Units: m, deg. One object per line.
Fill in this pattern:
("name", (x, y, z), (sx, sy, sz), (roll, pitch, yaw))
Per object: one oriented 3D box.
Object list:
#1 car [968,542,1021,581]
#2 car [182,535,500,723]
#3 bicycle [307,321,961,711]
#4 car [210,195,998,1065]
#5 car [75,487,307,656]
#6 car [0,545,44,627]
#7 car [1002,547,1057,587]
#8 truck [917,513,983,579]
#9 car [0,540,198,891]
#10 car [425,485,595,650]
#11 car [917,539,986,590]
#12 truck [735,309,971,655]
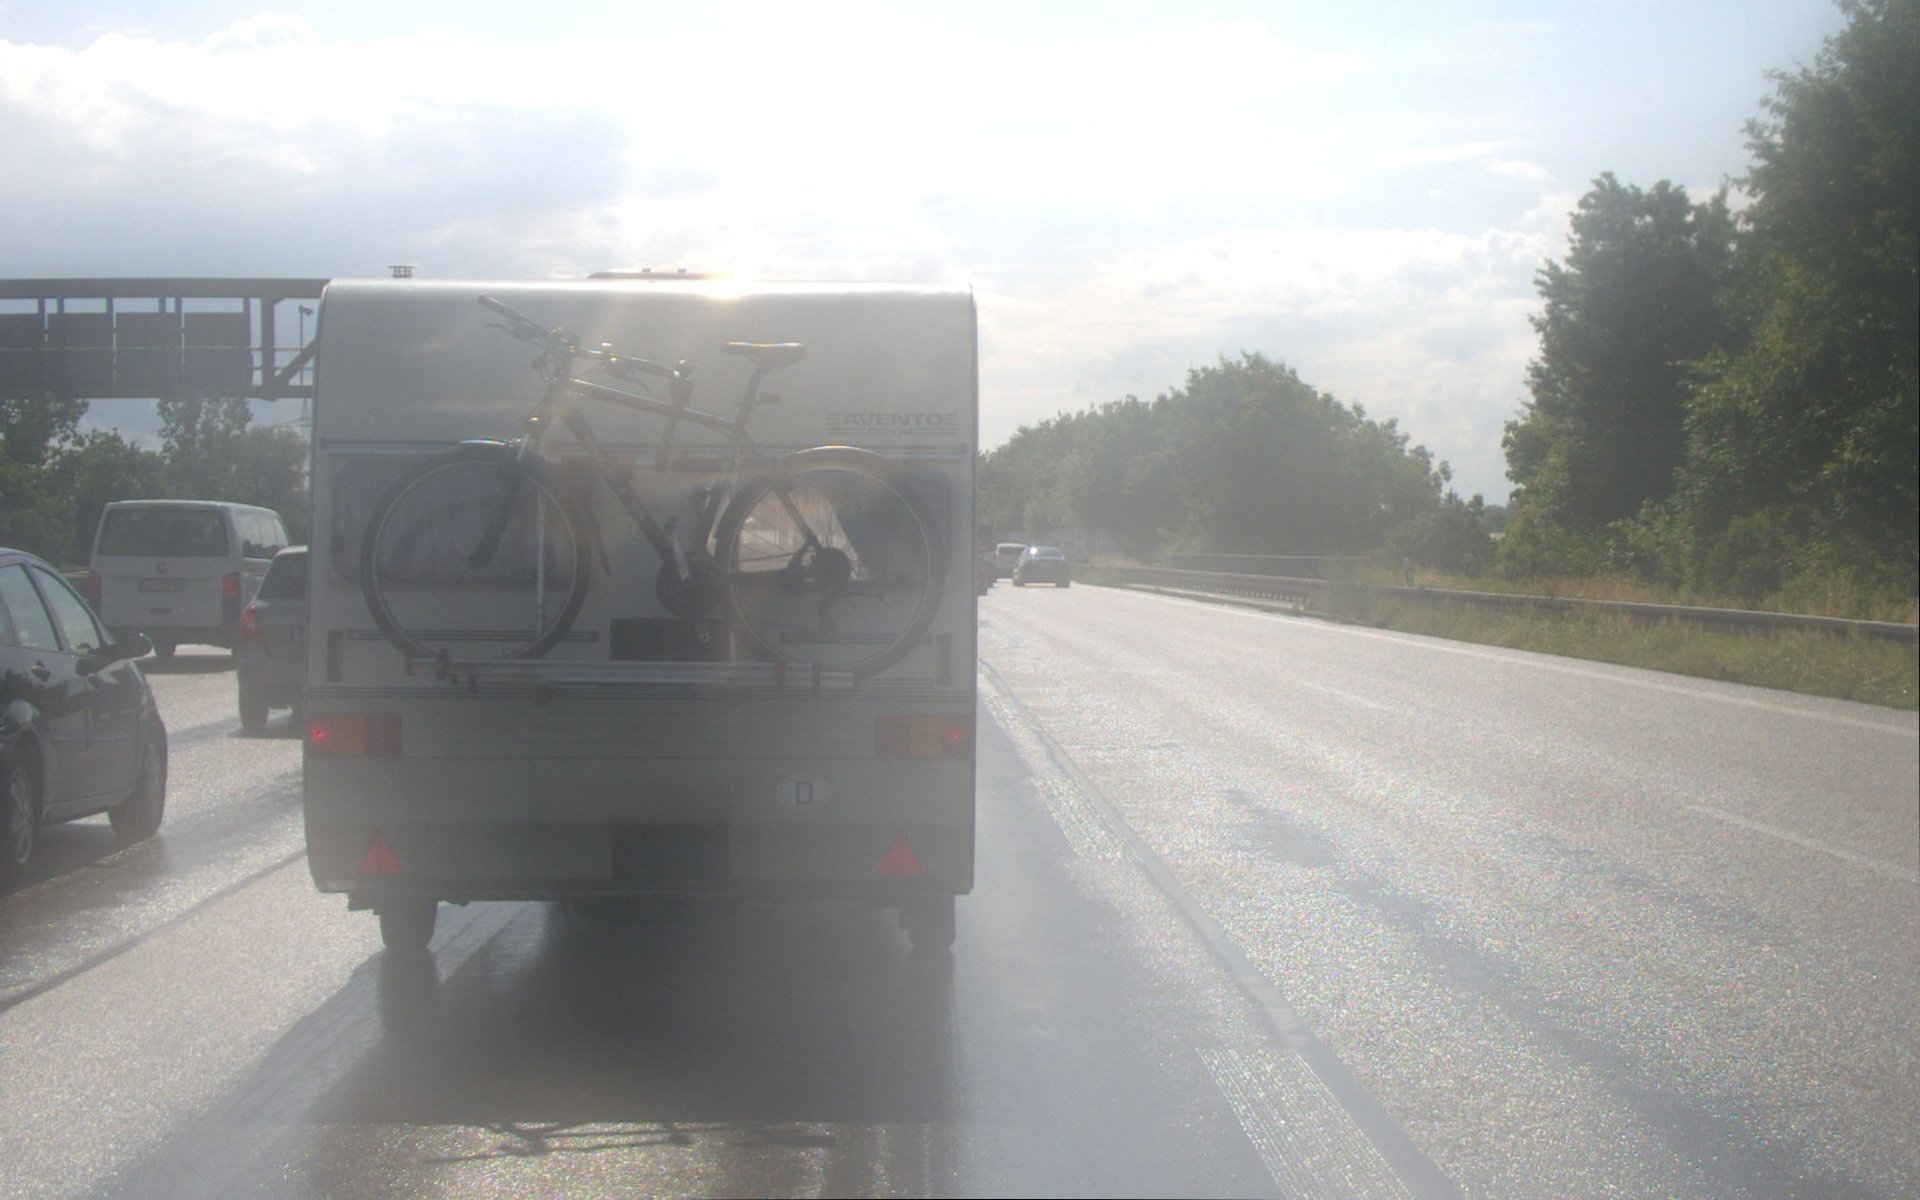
("car", (1.464, -1.672, 147.524), (1.876, 1.623, 4.001), (1, 1, -5))
("car", (-5.089, 0.192, 28.766), (1.987, 1.453, 3.827), (0, 1, 0))
("bicycle", (-0.974, -0.253, 10.445), (1.934, 1.137, 0.384), (1, 1, 1))
("car", (-1.117, 0.069, 12.654), (2.410, 2.665, 4.000), (1, 1, 0))
("car", (-9.345, -0.378, 42.158), (1.847, 1.927, 5.017), (0, 1, -2))
("car", (-18.169, -0.280, 63.146), (1.845, 1.446, 3.634), (0, 1, -2))
("car", (2.597, -1.248, 129.270), (1.876, 1.489, 4.000), (1, 1, -2))
("truck", (-0.396, -2.047, 130.146), (2.415, 2.435, 6.053), (0, 1, 0))
("car", (-4.854, 0.444, 15.964), (1.758, 1.438, 4.000), (0, 1, 0))
("car", (-5.729, -0.423, 44.156), (1.876, 2.007, 4.001), (1, 1, -4))
("car", (-0.297, -1.138, 108.816), (1.835, 1.552, 4.001), (1, 1, -5))
("truck", (-1.629, -1.670, 51.491), (3.146, 4.610, 10.737), (0, 1, -2))
